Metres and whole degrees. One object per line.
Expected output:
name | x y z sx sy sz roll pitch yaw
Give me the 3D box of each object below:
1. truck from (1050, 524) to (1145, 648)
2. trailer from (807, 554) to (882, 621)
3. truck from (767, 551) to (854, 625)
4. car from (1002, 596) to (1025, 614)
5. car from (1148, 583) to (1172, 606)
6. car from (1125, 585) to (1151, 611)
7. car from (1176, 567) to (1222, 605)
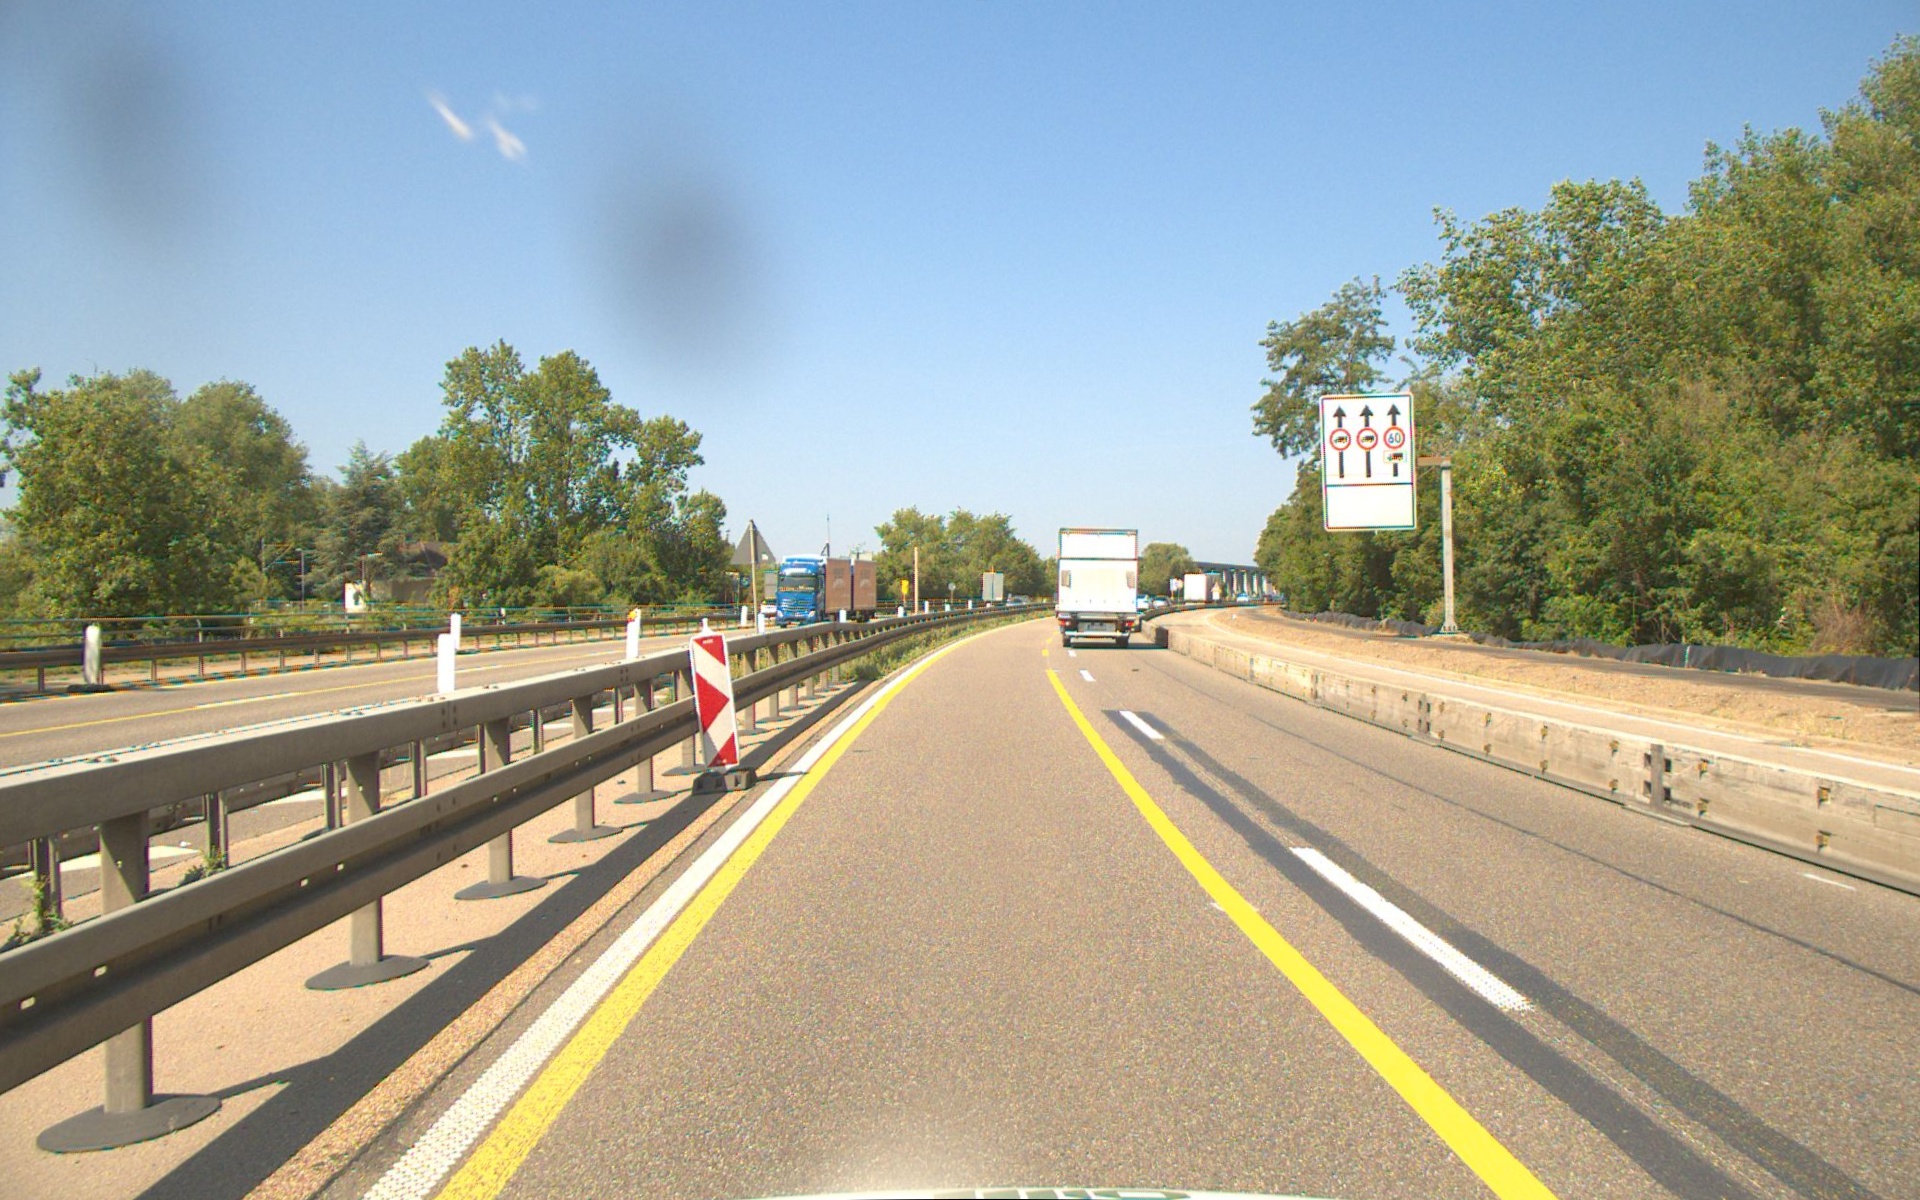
truck | 4.114 -0.434 50.705 2.579 3.487 7.236 1 0 3
trailer | -7.504 -0.846 108.911 2.973 4.162 9.796 1 1 7
truck | -8.793 -0.721 98.741 2.973 4.162 10.632 1 1 7
car | 5.416 0.465 166.084 1.868 1.680 4.380 -1 0 8
car | 19.641 -0.555 162.130 1.951 2.049 4.004 -2 0 12
car | 15.054 -0.198 139.446 1.951 2.049 4.004 -2 0 8
car | 28.888 -1.756 199.533 4.118 4.326 10.670 -2 0 15
